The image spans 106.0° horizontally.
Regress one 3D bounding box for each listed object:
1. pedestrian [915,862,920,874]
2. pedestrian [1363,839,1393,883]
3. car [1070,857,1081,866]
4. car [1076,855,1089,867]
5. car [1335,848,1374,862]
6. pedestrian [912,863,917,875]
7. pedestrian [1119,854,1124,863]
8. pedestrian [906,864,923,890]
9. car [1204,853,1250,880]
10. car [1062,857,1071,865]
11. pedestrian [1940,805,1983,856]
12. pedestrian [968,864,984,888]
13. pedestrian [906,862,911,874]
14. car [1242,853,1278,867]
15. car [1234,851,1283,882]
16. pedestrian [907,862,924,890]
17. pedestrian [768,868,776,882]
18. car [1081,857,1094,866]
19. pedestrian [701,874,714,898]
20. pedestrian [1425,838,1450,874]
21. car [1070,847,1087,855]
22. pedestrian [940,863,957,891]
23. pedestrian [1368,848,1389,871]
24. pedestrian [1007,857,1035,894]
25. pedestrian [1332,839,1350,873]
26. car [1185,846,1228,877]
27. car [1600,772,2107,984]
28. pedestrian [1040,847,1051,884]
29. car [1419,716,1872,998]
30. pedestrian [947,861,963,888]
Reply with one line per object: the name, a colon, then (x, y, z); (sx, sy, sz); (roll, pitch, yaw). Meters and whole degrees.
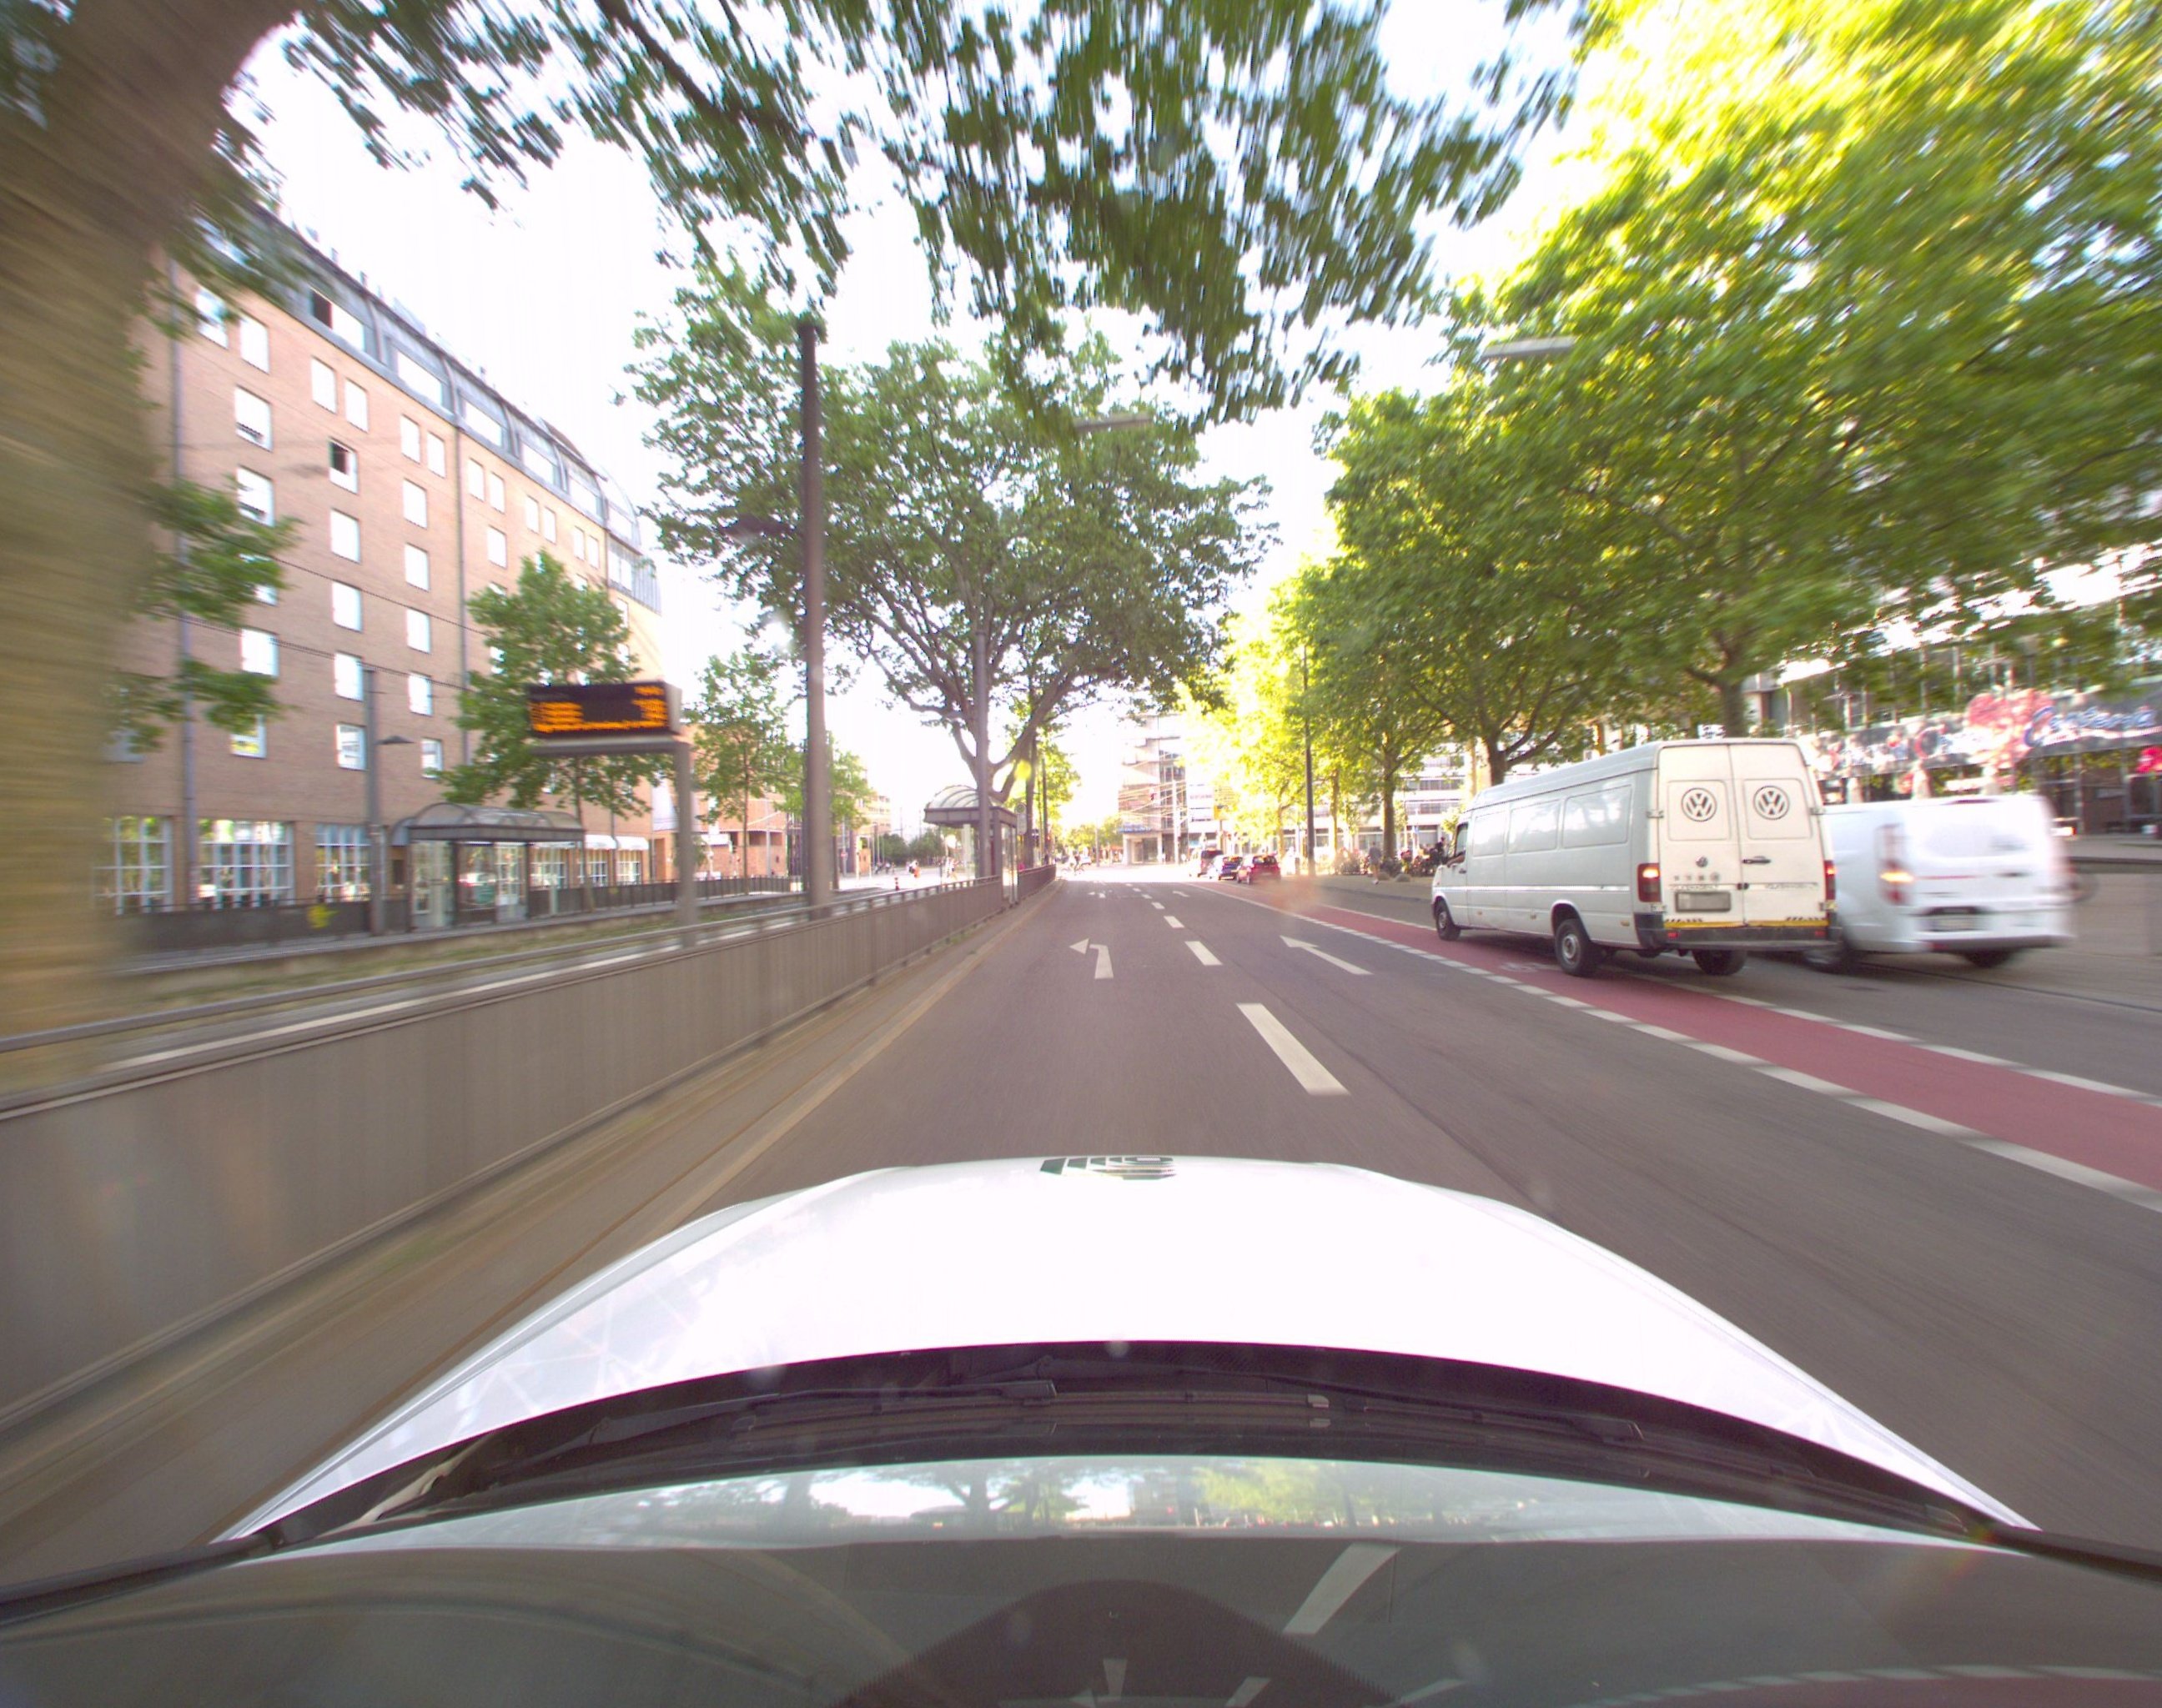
pedestrian: (-22.422, 1.893, 111.717); (0.538, 1.650, 0.621); (-2, -1, -21)
pedestrian: (12.308, 0.286, 33.754); (0.869, 1.786, 0.808); (-2, 0, -1)
car: (-1.008, 1.380, 158.139); (1.988, 1.662, 3.997); (-2, 0, -2)
car: (0.272, 1.148, 142.899); (1.988, 1.991, 3.997); (-2, 0, -2)
car: (33.664, 0.146, 100.444); (4.222, 1.560, 1.797); (-2, 0, 4)
pedestrian: (-23.026, 2.017, 112.569); (0.538, 1.650, 0.621); (-2, -1, -21)
pedestrian: (6.432, 0.711, 129.878); (0.738, 1.465, 0.536); (-2, -1, -4)
pedestrian: (-11.270, 1.553, 55.083); (1.072, 1.682, 0.755); (-1, -1, -9)
car: (8.652, 0.736, 48.650); (1.761, 1.464, 4.213); (-2, 0, -3)
car: (-3.247, 1.502, 179.847); (1.988, 1.662, 3.997); (-2, 0, -2)
pedestrian: (33.499, -0.883, 31.005); (0.987, 1.844, 0.857); (-3, -1, 43)
pedestrian: (-7.465, 1.552, 58.067); (1.072, 1.715, 0.627); (-1, -1, -6)
pedestrian: (-23.524, 1.917, 111.206); (0.538, 1.650, 0.621); (-2, 0, -21)
car: (22.281, 0.706, 101.433); (4.220, 1.602, 1.798); (-2, 0, 5)
car: (8.914, 0.636, 41.167); (1.554, 1.464, 3.619); (-1, 0, -2)
pedestrian: (-11.370, 1.478, 55.827); (1.073, 1.871, 0.736); (-1, -1, -9)
pedestrian: (-37.794, 2.571, 99.613); (0.538, 1.613, 0.574); (-3, -1, 29)
car: (1.113, 1.222, 136.098); (1.988, 1.332, 3.997); (-2, 0, -2)
pedestrian: (-25.192, 2.153, 54.948); (0.588, 1.584, 0.724); (0, -1, -3)
pedestrian: (17.892, 0.089, 40.883); (0.815, 1.757, 0.770); (-2, -1, -3)
car: (-0.692, -0.708, 194.149); (3.735, 1.750, 1.788); (-1, -1, 12)
pedestrian: (-9.164, 1.568, 56.396); (1.145, 1.894, 0.830); (-1, -1, -9)
pedestrian: (23.501, 0.413, 64.386); (1.207, 1.822, 1.039); (0, -1, -7)
pedestrian: (-2.296, 0.831, 31.256); (0.972, 1.400, 0.664); (0, -1, 3)
pedestrian: (14.096, 0.120, 44.118); (0.799, 1.786, 0.661); (-2, -1, 24)
car: (8.426, 0.502, 55.257); (1.988, 1.966, 5.134); (0, 0, -1)
car: (9.751, 0.261, 11.166); (2.114, 2.134, 5.295); (-2, 0, 4)
pedestrian: (-1.840, 0.610, 42.206); (0.508, 1.900, 0.759); (0, -1, -1)
car: (6.847, 0.047, 11.211); (1.985, 2.724, 6.567); (-1, 0, 3)
pedestrian: (-8.597, 1.376, 55.550); (1.071, 1.806, 0.755); (-1, -1, -9)
